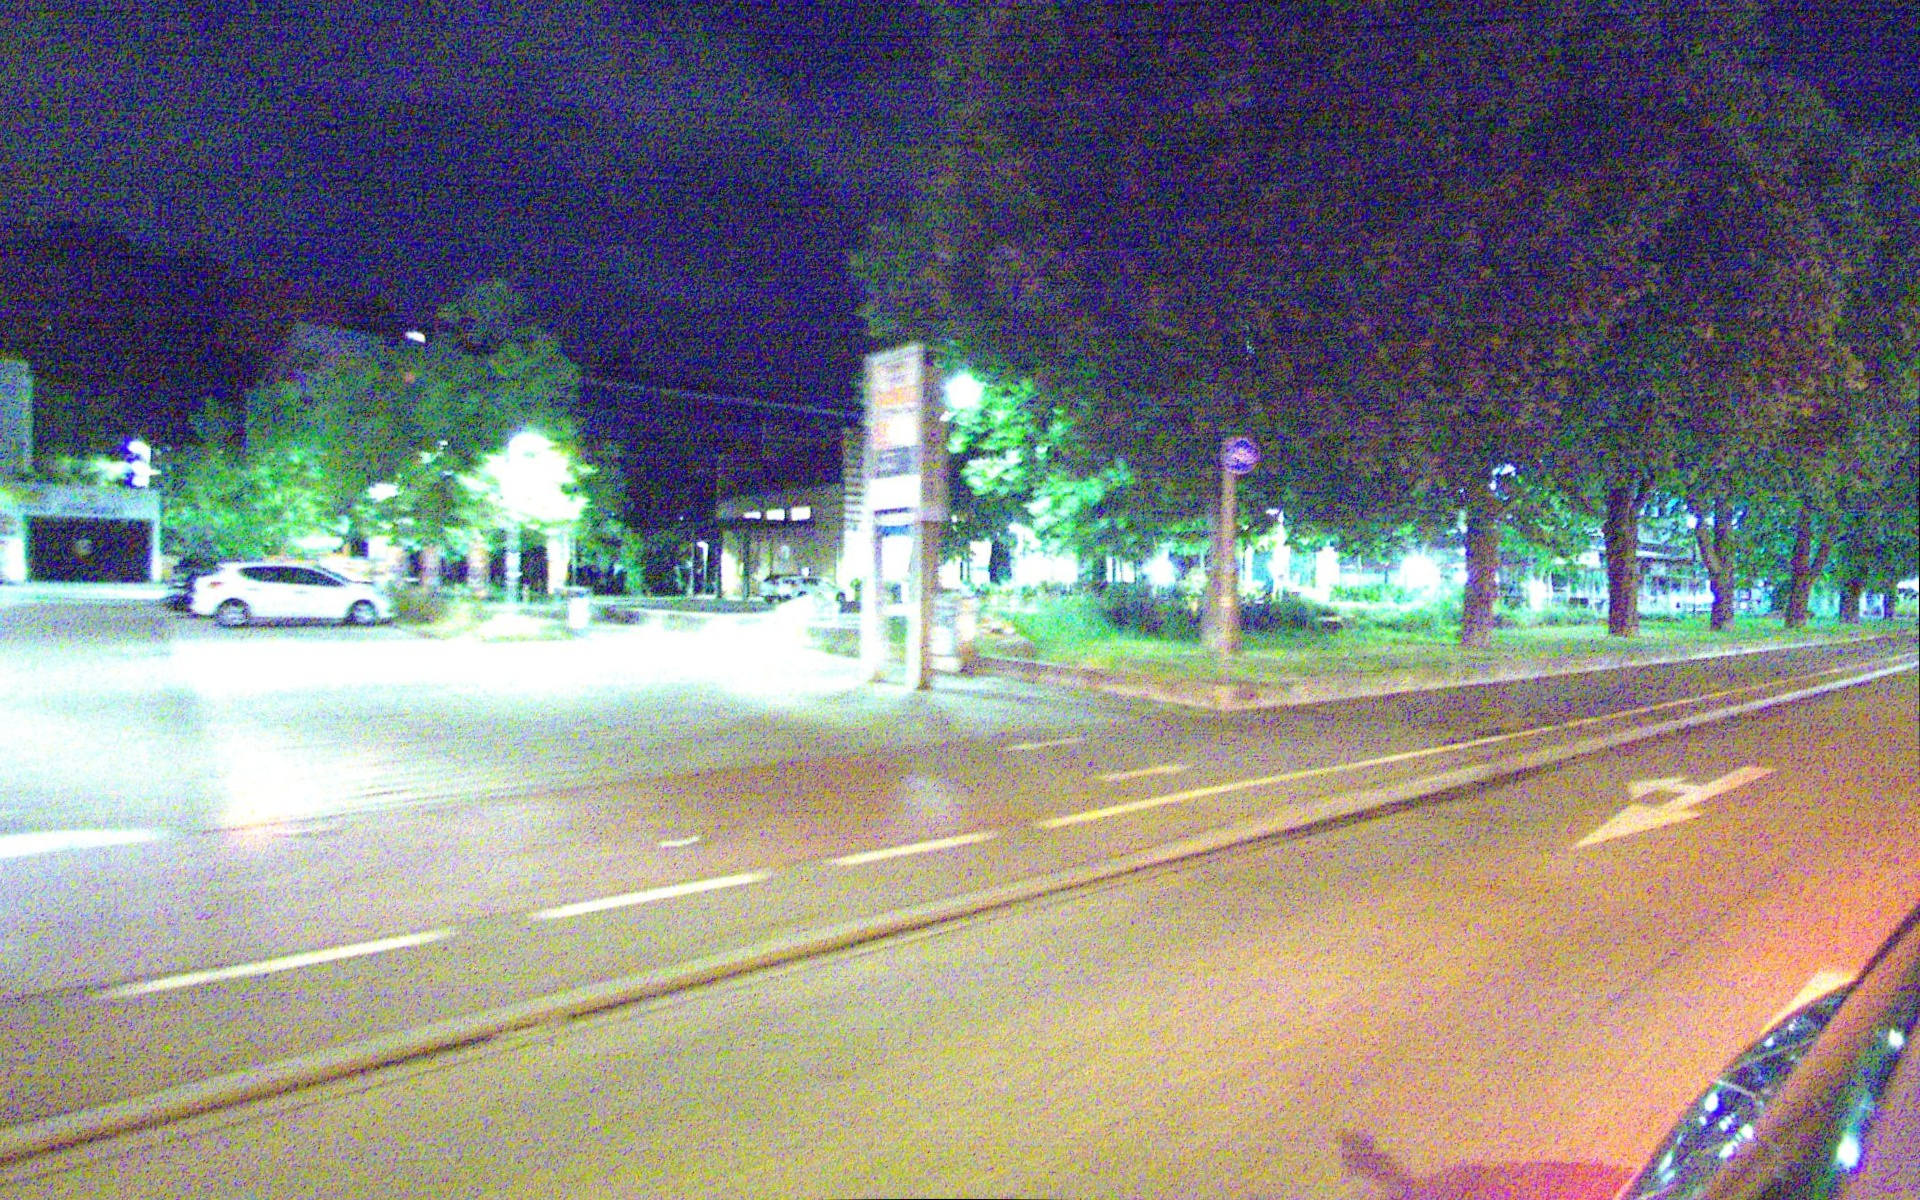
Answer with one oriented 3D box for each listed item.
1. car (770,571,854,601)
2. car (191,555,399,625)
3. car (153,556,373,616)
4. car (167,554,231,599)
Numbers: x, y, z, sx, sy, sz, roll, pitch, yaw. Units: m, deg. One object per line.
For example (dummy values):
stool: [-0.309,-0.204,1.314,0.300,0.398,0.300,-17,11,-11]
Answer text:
car: [-8.170,-0.764,56.067,4.225,1.527,1.998,0,2,-40]
car: [-15.950,-0.245,24.365,4.025,1.552,1.772,0,1,-40]
car: [-19.132,-0.381,27.912,4.807,1.531,1.892,0,1,-41]
car: [-31.694,-0.989,42.138,2.041,1.787,4.550,0,1,-38]
